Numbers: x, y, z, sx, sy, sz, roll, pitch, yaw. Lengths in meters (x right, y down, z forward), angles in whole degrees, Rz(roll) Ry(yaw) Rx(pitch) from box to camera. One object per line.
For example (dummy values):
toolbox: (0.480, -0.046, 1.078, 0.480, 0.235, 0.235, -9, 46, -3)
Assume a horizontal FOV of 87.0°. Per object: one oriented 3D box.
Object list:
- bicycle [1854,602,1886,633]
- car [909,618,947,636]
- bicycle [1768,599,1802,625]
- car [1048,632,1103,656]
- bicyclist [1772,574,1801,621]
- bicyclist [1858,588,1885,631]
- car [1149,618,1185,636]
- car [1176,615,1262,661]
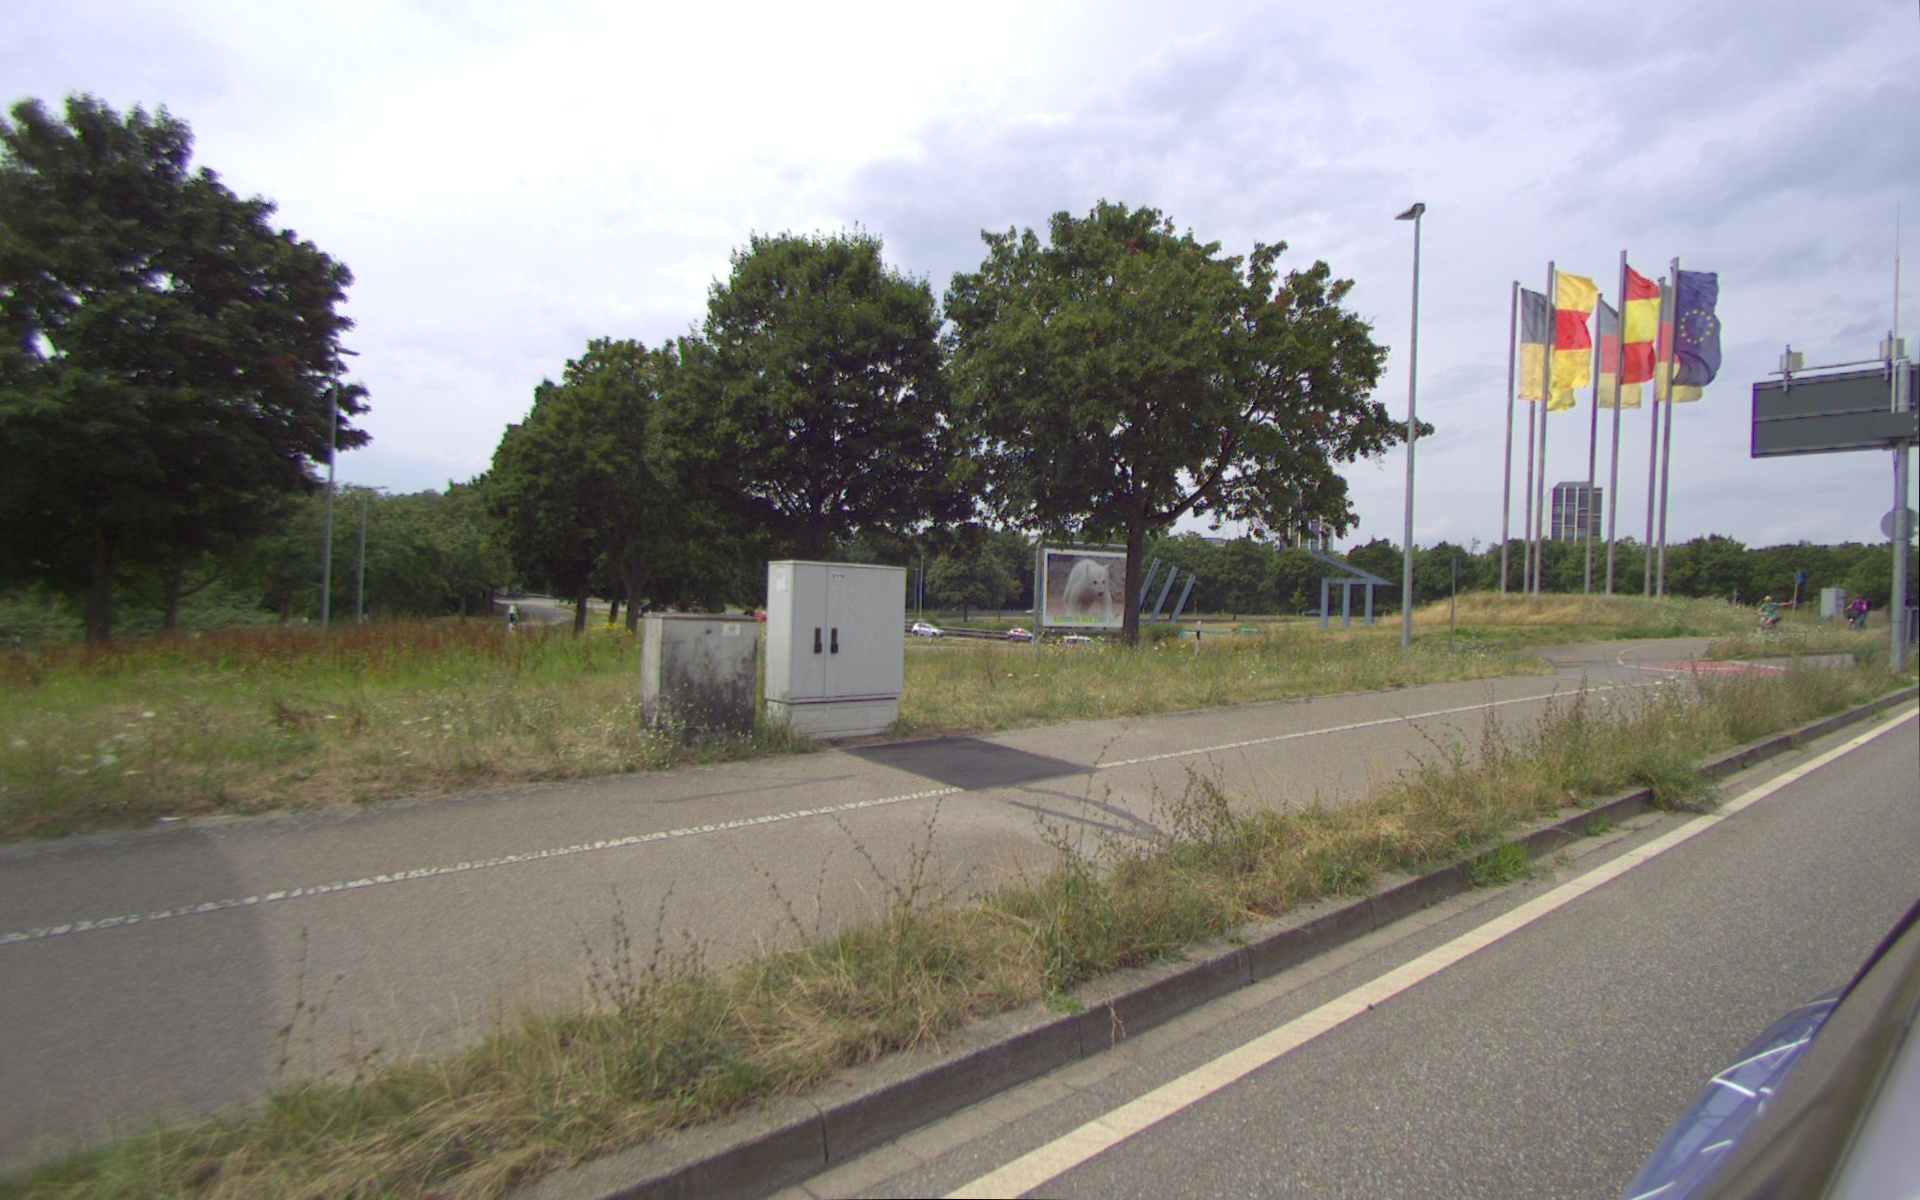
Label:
bicycle: (38.073, 0.732, 42.325, 2.418, 1.207, 0.695, 1, 1, -42)
car: (-3.719, 3.062, 116.546, 3.963, 2.039, 1.980, -1, -1, 29)
bicycle: (30.391, 0.433, 37.268, 2.117, 0.899, 0.624, 0, 1, -42)
car: (11.104, 4.220, 97.926, 5.157, 2.039, 1.997, 2, 0, 5)
bicyclist: (30.342, -0.093, 37.158, 0.657, 1.686, 0.623, 2, 2, -42)
bicyclist: (38.218, 0.385, 42.428, 0.974, 1.777, 0.704, 1, 0, -42)
car: (25.515, 3.301, 124.728, 3.969, 2.039, 1.857, 2, 0, 32)
car: (24.869, 3.597, 97.256, 7.434, 3.946, 3.315, 2, 0, 26)
